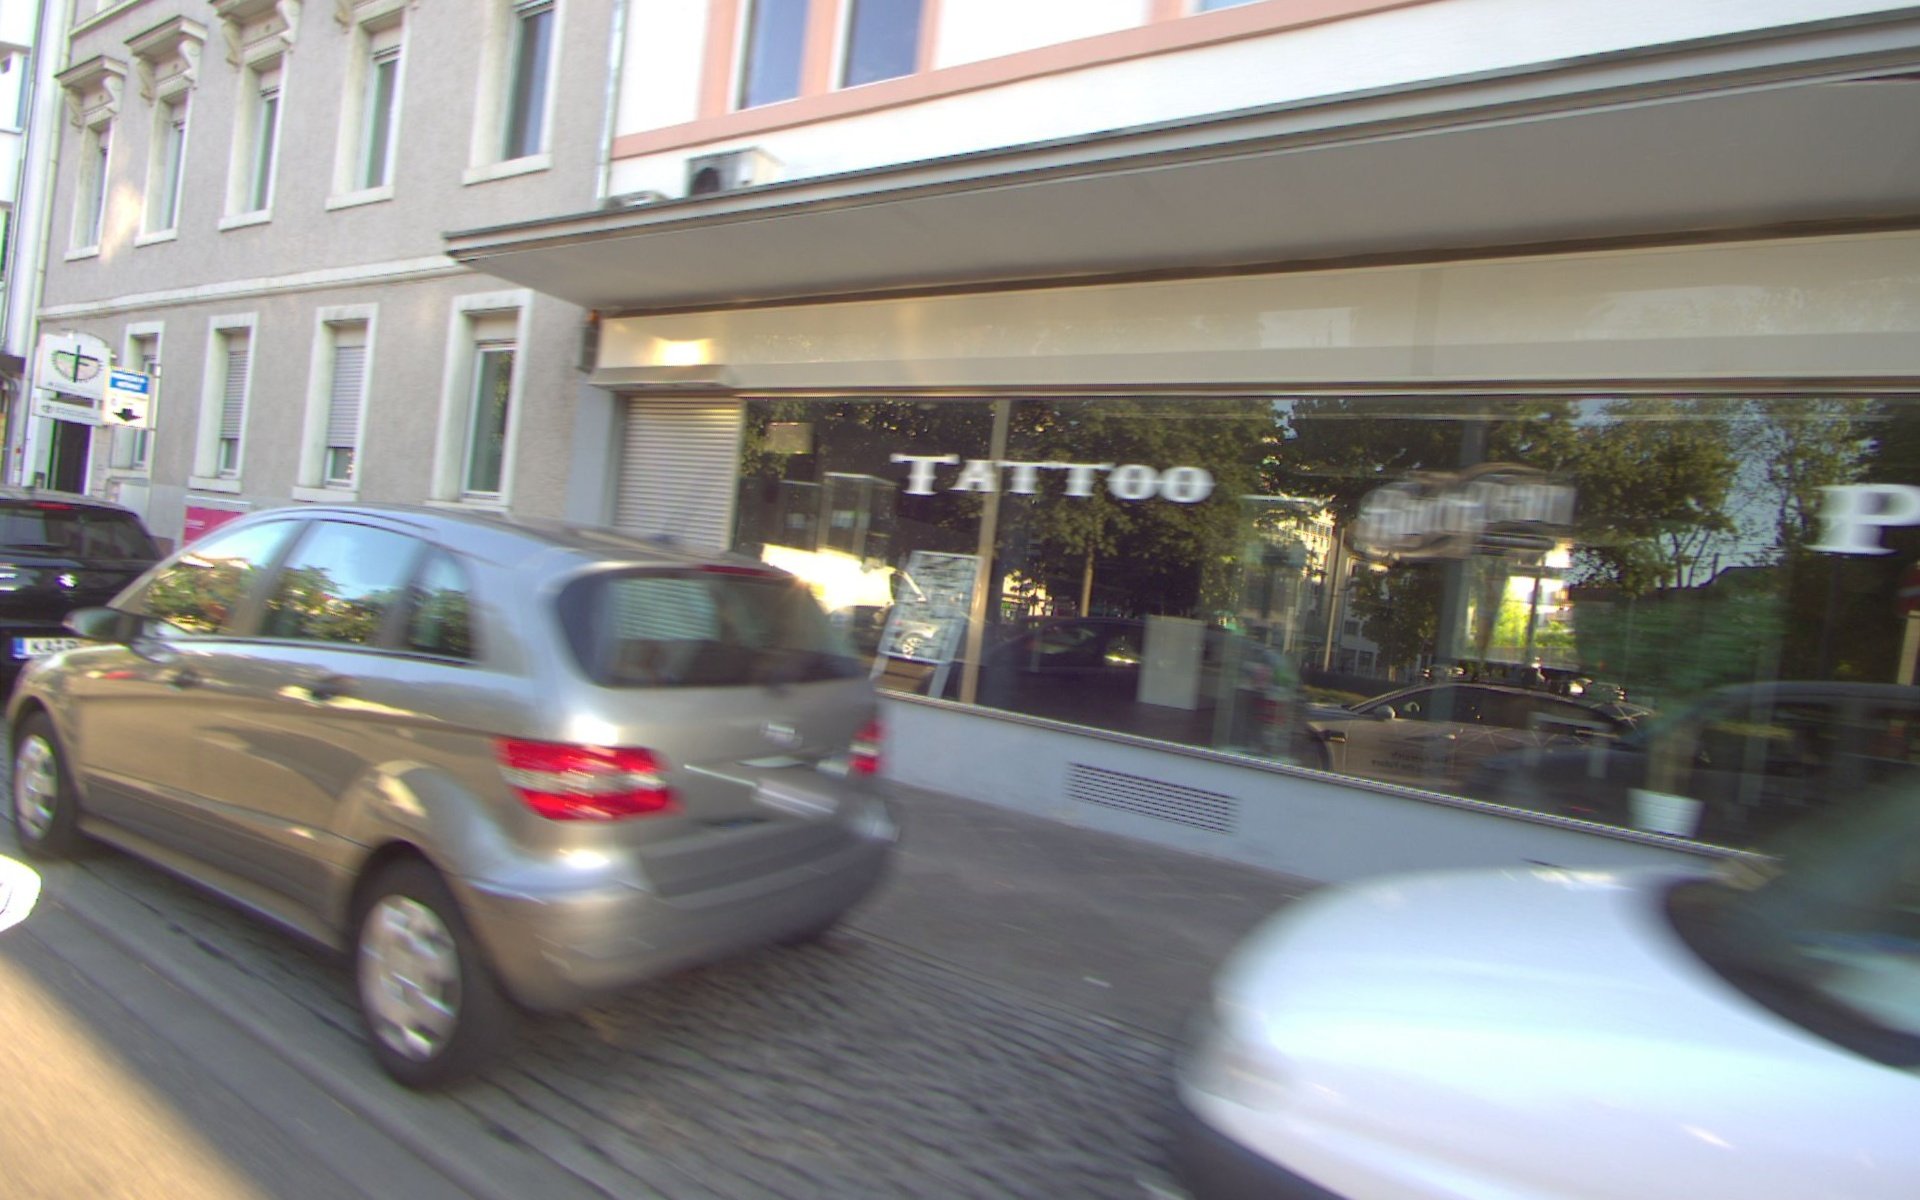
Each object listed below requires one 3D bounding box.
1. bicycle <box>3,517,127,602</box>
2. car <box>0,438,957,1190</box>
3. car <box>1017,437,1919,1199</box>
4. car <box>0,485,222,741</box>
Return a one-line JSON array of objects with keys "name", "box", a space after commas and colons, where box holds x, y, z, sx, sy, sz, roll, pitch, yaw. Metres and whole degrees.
[{"name": "bicycle", "box": [-12.882, -0.583, 14.476, 1.680, 1.024, 0.456, 6, 0, 17]}, {"name": "car", "box": [-2.247, 0.407, 4.114, 4.039, 1.685, 1.659, 7, -1, 31]}, {"name": "car", "box": [2.317, 0.871, 1.536, 4.024, 1.814, 1.795, 7, 0, 32]}, {"name": "car", "box": [-7.347, -0.094, 7.386, 3.818, 1.562, 1.670, 7, -1, 31]}]
